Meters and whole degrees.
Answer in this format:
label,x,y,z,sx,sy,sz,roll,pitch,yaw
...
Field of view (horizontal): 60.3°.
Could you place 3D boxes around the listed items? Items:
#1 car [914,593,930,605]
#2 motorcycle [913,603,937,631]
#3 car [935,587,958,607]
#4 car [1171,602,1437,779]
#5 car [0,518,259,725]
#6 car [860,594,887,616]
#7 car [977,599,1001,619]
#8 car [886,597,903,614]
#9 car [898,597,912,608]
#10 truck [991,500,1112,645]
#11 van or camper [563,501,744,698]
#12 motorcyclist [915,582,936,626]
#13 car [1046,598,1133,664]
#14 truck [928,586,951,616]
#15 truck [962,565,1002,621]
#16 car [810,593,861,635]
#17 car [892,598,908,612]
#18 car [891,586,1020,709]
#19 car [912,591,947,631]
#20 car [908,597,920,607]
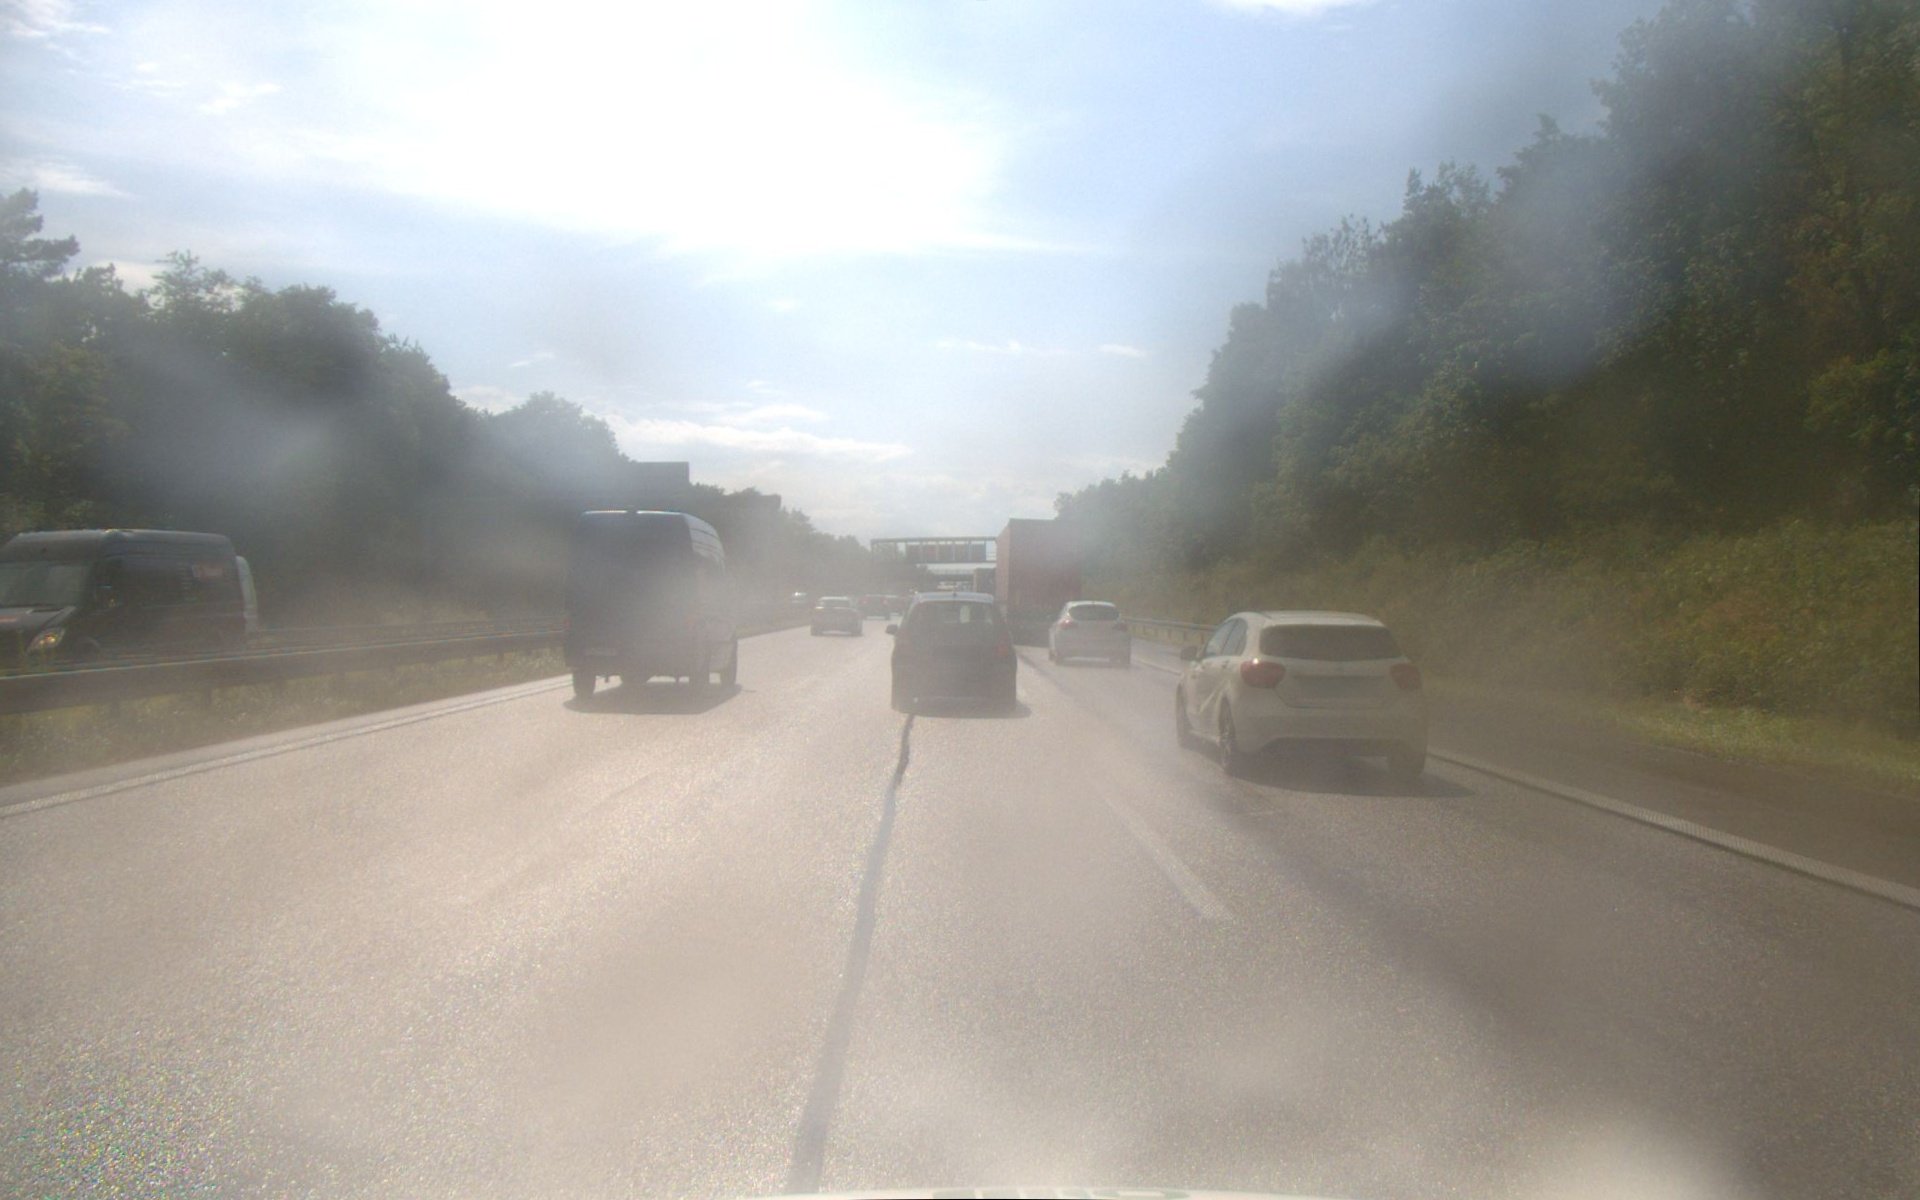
label,x,y,z,sx,sy,sz,roll,pitch,yaw
car,-5.306,-0.127,230.407,1.952,1.731,4.002,0,0,4
motorcycle,-1.353,0.644,63.438,0.873,1.018,2.895,1,0,-2
car,-0.983,-0.191,117.508,1.521,1.407,3.208,1,0,-2
car,3.151,0.760,15.965,1.657,1.450,4.220,1,0,0
car,-13.907,0.295,26.817,2.217,2.920,6.888,1,0,-1
car,-5.839,0.331,111.816,1.716,1.482,3.388,1,0,-2
car,2.063,0.620,118.290,1.521,1.407,3.208,1,0,-2
car,-5.477,0.445,138.168,1.431,1.418,3.310,1,0,-2
car,-6.494,0.258,194.544,1.518,1.289,3.483,1,0,-2
truck,3.225,-0.917,63.806,3.575,4.803,16.777,1,0,0
van or camper,-4.615,-0.002,25.723,1.953,2.715,5.382,1,0,-2
motorcyclist,-1.327,0.146,63.396,0.785,1.662,1.013,1,0,-2
car,3.075,0.713,39.854,1.647,1.467,3.903,1,0,-2
truck,-2.113,0.106,166.405,2.148,2.925,4.847,1,0,-2
truck,1.815,-0.587,144.497,3.189,4.558,12.419,1,0,0
car,-4.858,0.544,64.806,1.817,1.578,3.483,1,0,-2
car,-5.955,0.488,162.882,1.518,1.289,3.483,1,0,-2
car,-0.117,0.634,23.585,1.683,1.595,3.483,1,0,-2
car,-1.431,0.498,76.097,1.501,1.777,3.483,1,0,-2
car,-5.850,0.248,209.475,1.518,1.289,3.483,1,0,-2
